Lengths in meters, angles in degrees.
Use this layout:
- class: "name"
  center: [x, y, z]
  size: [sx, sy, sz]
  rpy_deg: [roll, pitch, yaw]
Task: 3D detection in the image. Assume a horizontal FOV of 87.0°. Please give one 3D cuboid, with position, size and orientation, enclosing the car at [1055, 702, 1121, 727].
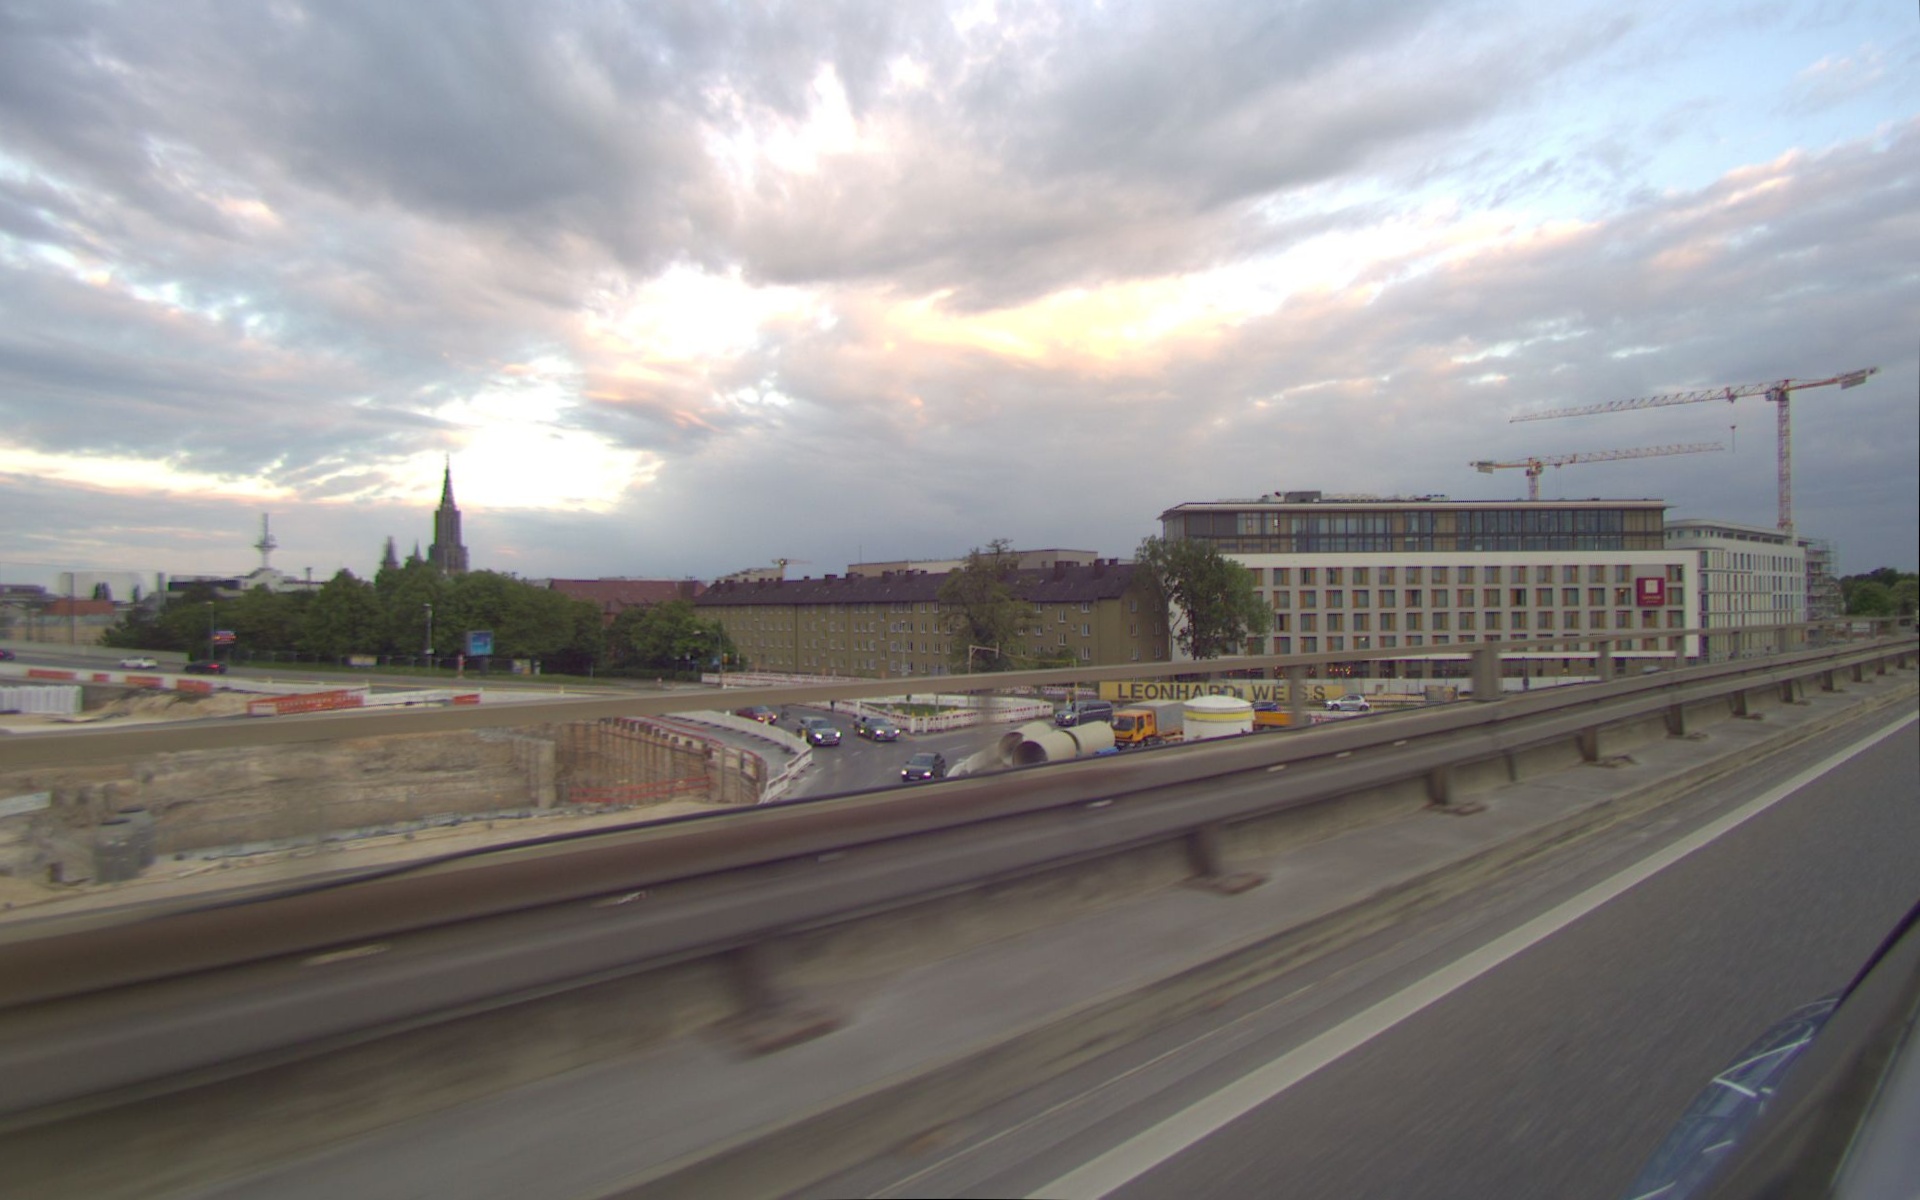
- class: "car"
  center: [10.138, 9.029, 80.120]
  size: [4.988, 1.903, 2.001]
  rpy_deg: [3, -6, -29]

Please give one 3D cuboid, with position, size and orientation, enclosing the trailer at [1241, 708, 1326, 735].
- class: "trailer"
  center: [24.171, 9.050, 75.713]
  size: [5.826, 1.365, 2.004]
  rpy_deg: [0, 0, 32]

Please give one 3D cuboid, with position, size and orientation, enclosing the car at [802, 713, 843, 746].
- class: "car"
  center: [-9.269, 8.652, 67.952]
  size: [1.612, 1.761, 3.799]
  rpy_deg: [-1, -1, -26]

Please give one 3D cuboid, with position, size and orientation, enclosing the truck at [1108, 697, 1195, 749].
- class: "truck"
  center: [13.191, 8.336, 69.354]
  size: [2.157, 2.987, 7.218]
  rpy_deg: [-4, -4, 44]

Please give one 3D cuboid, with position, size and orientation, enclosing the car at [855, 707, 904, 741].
- class: "car"
  center: [-5.684, 8.644, 70.918]
  size: [1.768, 1.741, 4.106]
  rpy_deg: [-3, 1, -30]

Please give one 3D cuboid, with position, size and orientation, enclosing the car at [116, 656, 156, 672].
- class: "car"
  center: [-96.531, 7.517, 118.531]
  size: [3.648, 1.762, 1.588]
  rpy_deg: [0, -5, 12]

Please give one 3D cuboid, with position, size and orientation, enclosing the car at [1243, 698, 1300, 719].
- class: "car"
  center: [26.300, 9.149, 85.567]
  size: [4.527, 1.640, 1.990]
  rpy_deg: [0, -5, 14]

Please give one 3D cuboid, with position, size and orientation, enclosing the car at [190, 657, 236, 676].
- class: "car"
  center: [-84.691, 7.555, 114.744]
  size: [3.938, 2.041, 1.991]
  rpy_deg: [-1, -5, 12]

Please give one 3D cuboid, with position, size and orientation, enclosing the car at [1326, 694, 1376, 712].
- class: "car"
  center: [35.498, 9.320, 92.032]
  size: [3.937, 1.461, 1.905]
  rpy_deg: [0, -3, 11]

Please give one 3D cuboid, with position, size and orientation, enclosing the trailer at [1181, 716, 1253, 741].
- class: "trailer"
  center: [18.810, 9.375, 73.940]
  size: [5.768, 1.366, 1.996]
  rpy_deg: [1, -7, -40]

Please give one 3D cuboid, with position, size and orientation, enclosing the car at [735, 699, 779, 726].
- class: "car"
  center: [-15.632, 8.632, 77.786]
  size: [1.622, 1.639, 3.757]
  rpy_deg: [0, -1, -44]
